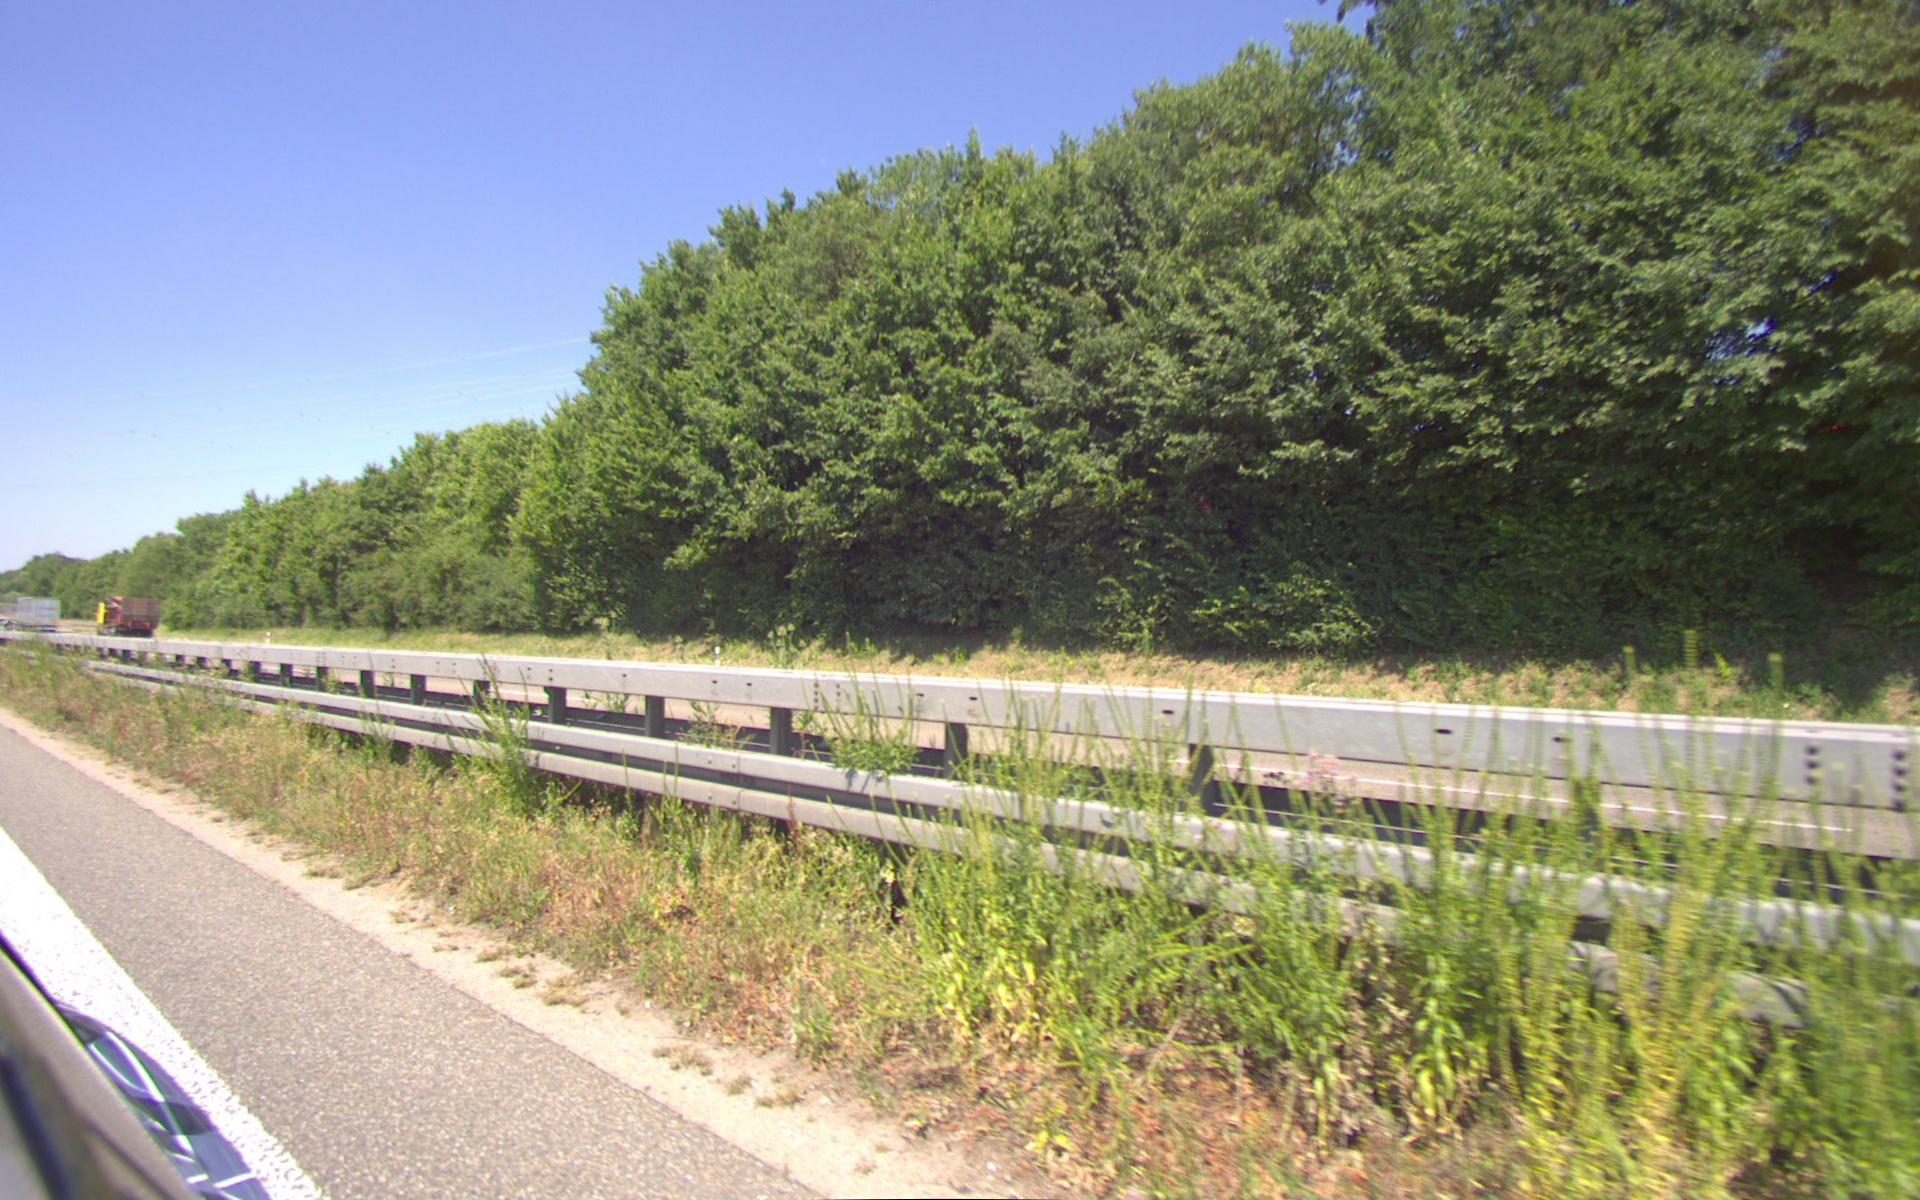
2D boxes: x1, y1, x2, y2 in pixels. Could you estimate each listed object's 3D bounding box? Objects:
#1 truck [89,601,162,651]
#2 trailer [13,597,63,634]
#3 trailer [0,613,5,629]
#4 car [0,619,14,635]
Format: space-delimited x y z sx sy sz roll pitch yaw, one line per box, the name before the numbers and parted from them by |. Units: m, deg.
truck | -67.718 2.060 81.991 11.152 3.766 2.754 -1 0 41
trailer | -110.715 1.846 121.445 7.965 4.312 3.418 -1 0 40
trailer | -162.994 3.583 169.965 8.531 2.659 3.112 -1 0 43
car | -104.149 2.928 109.491 5.609 1.683 1.972 -1 -3 41
